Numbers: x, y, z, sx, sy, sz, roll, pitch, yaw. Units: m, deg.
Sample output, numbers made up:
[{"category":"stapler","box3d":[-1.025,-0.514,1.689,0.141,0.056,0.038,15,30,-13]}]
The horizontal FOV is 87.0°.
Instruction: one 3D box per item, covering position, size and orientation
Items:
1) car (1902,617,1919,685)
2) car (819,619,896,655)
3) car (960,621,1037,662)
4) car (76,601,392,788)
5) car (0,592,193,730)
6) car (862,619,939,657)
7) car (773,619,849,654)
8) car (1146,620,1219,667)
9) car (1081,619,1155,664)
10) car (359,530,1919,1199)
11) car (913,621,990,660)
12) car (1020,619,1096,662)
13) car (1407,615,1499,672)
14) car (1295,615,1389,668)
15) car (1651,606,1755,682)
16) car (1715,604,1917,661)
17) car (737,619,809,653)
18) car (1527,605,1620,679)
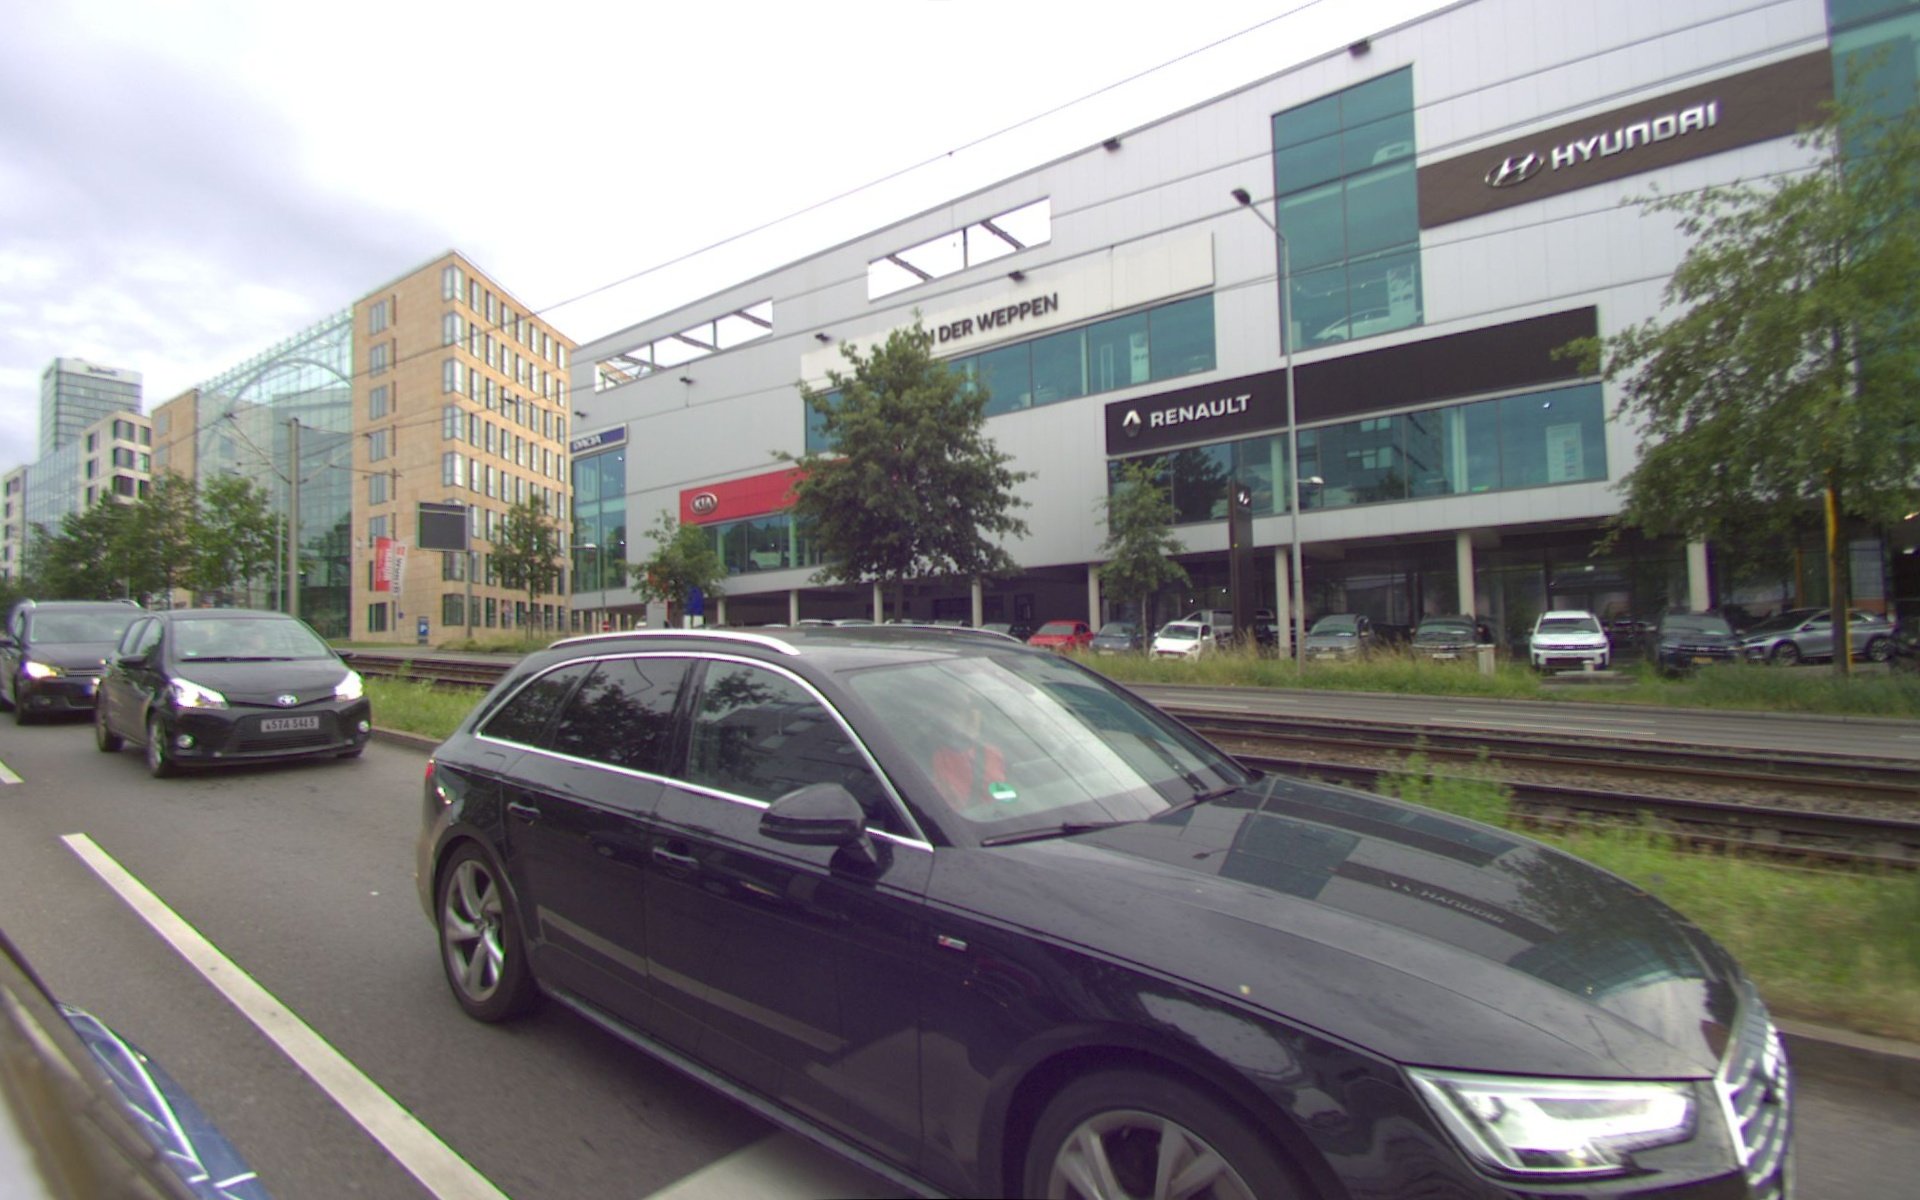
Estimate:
[{"category":"car","box3d":[22.249,1.165,21.995,1.891,1.519,3.956,-1,0,33]},{"category":"car","box3d":[-4.512,1.640,45.141,1.812,1.502,3.813,-1,-1,23]},{"category":"car","box3d":[1.569,1.595,39.767,1.812,1.502,3.813,-1,-1,23]},{"category":"car","box3d":[-7.427,0.811,10.212,3.999,1.513,1.775,-2,-1,42]},{"category":"car","box3d":[-12.538,0.798,14.440,4.129,1.693,1.758,-2,-1,41]},{"category":"car","box3d":[-2.498,1.606,43.363,1.812,1.502,3.813,-1,-1,23]},{"category":"car","box3d":[-6.824,1.662,46.668,1.812,1.502,3.813,-1,-1,23]},{"category":"car","box3d":[7.736,1.457,34.979,1.812,1.502,3.813,-1,-1,23]},{"category":"car","box3d":[5.782,1.478,36.684,1.812,1.502,3.813,-1,-1,23]},{"category":"car","box3d":[-0.097,0.701,3.263,4.826,1.445,1.771,-2,-1,41]},{"category":"car","box3d":[-0.285,1.630,41.583,1.812,1.502,3.813,-1,-1,23]},{"category":"car","box3d":[3.736,1.499,38.073,1.812,1.502,3.813,-1,-1,23]},{"category":"car","box3d":[14.164,1.198,28.956,1.819,1.502,3.954,-1,-1,34]},{"category":"car","box3d":[11.855,1.233,31.272,1.819,1.502,3.954,-1,-1,34]},{"category":"car","box3d":[18.677,1.044,25.606,1.917,1.674,3.954,-1,0,34]},{"category":"car","box3d":[23.600,0.884,28.007,3.946,1.480,1.770,-1,-1,2]},{"category":"car","box3d":[-8.859,1.691,48.276,1.809,1.502,3.819,-1,-1,18]},{"category":"car","box3d":[16.545,1.068,27.215,1.917,1.674,3.954,-1,1,34]}]
